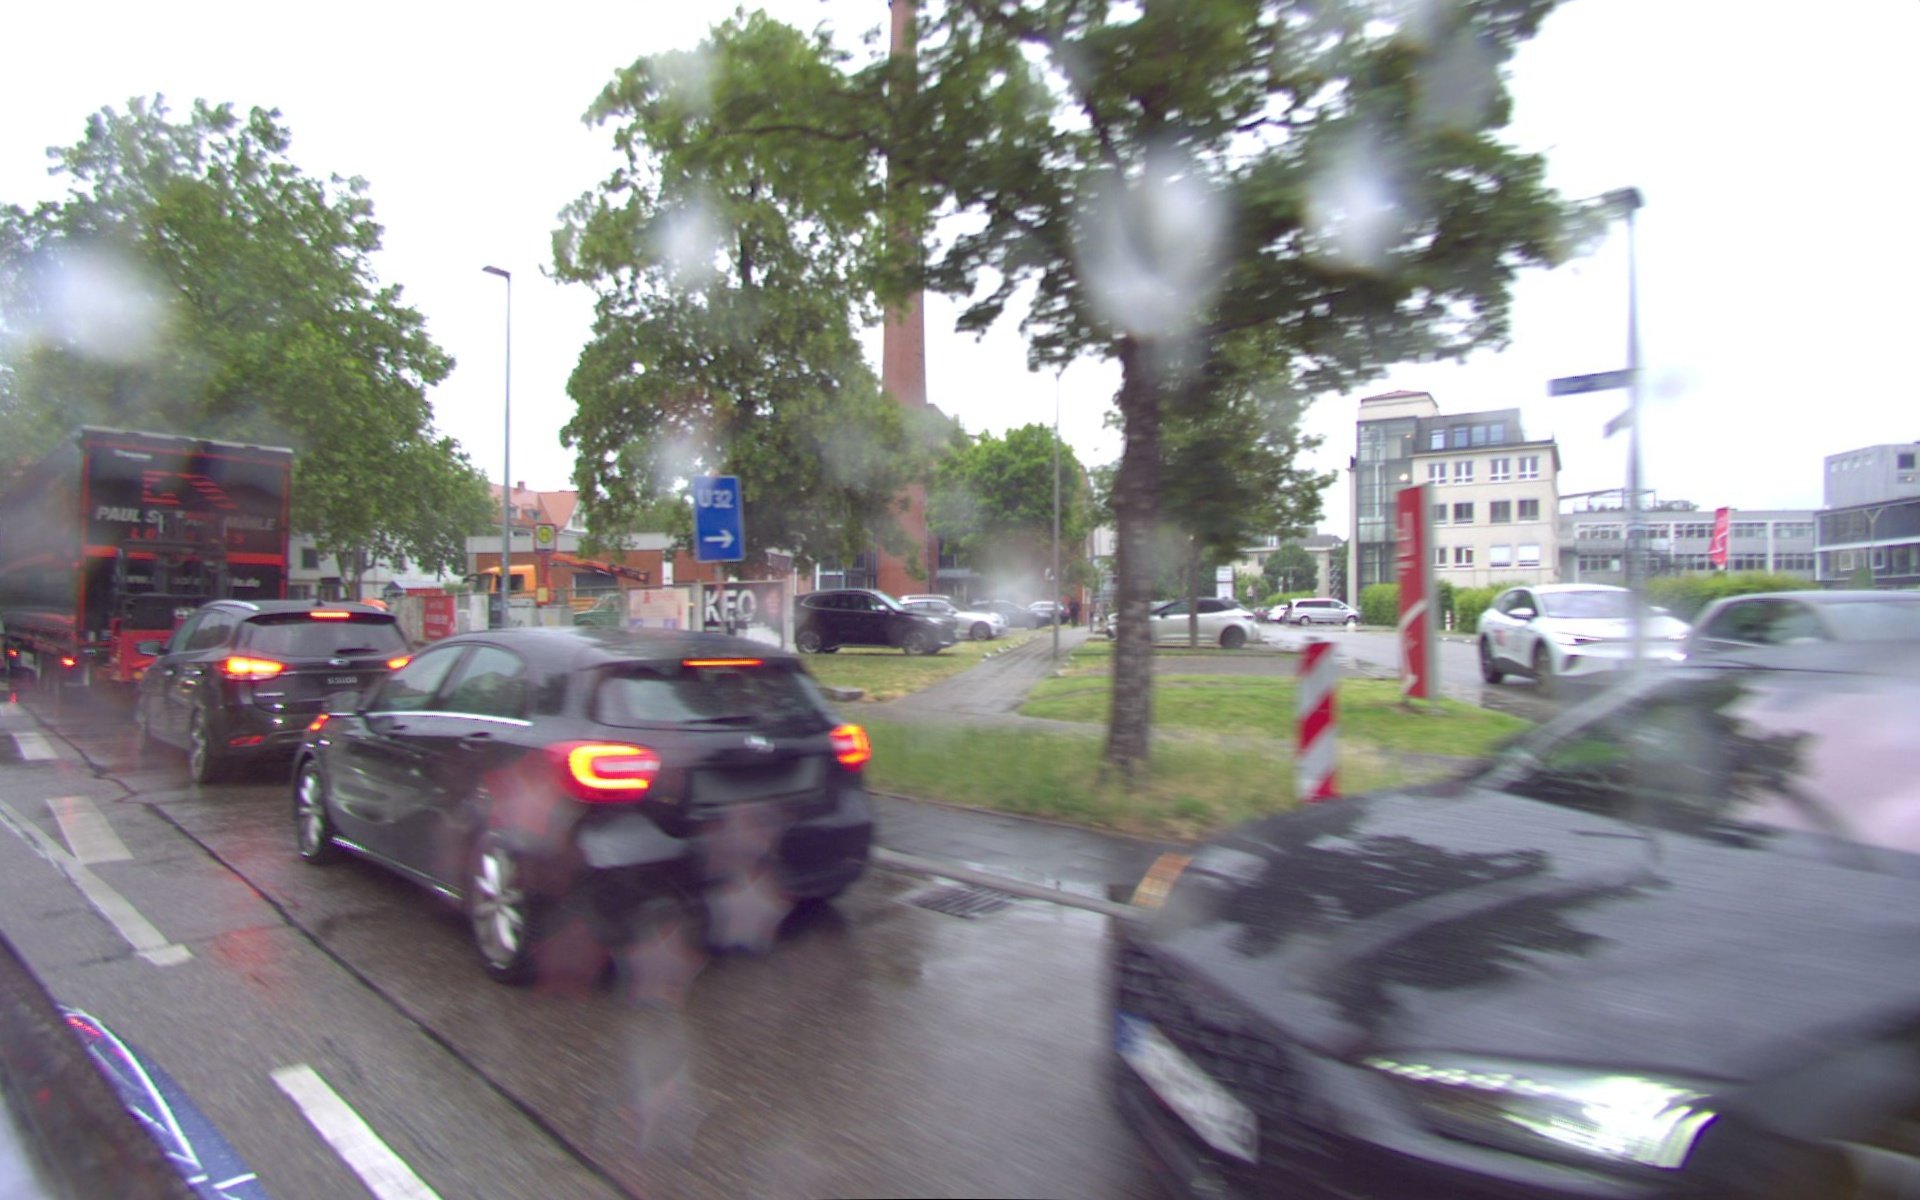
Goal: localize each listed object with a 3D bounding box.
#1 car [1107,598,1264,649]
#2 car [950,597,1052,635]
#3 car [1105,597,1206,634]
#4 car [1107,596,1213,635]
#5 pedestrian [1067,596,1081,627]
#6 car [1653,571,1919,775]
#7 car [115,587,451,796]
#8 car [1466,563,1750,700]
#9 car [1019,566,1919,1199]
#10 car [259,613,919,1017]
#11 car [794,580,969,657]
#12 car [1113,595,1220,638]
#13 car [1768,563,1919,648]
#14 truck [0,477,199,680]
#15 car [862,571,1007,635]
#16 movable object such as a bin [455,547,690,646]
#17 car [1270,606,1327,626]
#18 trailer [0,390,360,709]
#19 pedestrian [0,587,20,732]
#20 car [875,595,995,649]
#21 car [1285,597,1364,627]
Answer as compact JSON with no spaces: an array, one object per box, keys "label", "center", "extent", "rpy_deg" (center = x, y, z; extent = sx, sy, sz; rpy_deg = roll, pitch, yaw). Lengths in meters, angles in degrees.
[{"label":"car","center":[6.397,0.685,29.053],"extent":[4.263,1.389,1.618],"rpy_deg":[-1,-1,11]},{"label":"car","center":[2.040,0.792,50.026],"extent":[4.756,1.754,2.161],"rpy_deg":[-1,-1,12]},{"label":"car","center":[9.824,0.770,51.208],"extent":[4.845,1.736,1.995],"rpy_deg":[-1,-1,8]},{"label":"car","center":[9.543,0.755,48.683],"extent":[4.845,1.750,1.995],"rpy_deg":[-1,-1,8]},{"label":"pedestrian","center":[6.377,0.631,56.581],"extent":[0.671,1.697,0.777],"rpy_deg":[-1,-1,12]},{"label":"car","center":[7.934,0.462,8.440],"extent":[1.992,1.405,4.325],"rpy_deg":[-1,1,11]},{"label":"car","center":[-7.128,0.716,10.408],"extent":[4.803,1.631,1.847],"rpy_deg":[1,0,43]},{"label":"car","center":[9.383,0.415,15.200],"extent":[2.025,1.719,4.630],"rpy_deg":[-1,0,12]},{"label":"car","center":[2.811,0.707,2.801],"extent":[4.844,1.465,2.092],"rpy_deg":[0,-1,-16]},{"label":"car","center":[-2.334,0.780,5.584],"extent":[4.338,1.371,1.707],"rpy_deg":[-1,-2,44]},{"label":"car","center":[-1.893,0.464,25.003],"extent":[3.957,1.804,1.993],"rpy_deg":[-1,-1,11]},{"label":"car","center":[8.906,0.705,43.912],"extent":[4.370,1.750,1.995],"rpy_deg":[-1,-1,8]},{"label":"car","center":[25.209,0.138,27.264],"extent":[4.920,2.167,1.993],"rpy_deg":[-1,-1,11]},{"label":"truck","center":[-20.983,-0.378,24.038],"extent":[6.972,4.109,3.413],"rpy_deg":[-1,-1,42]},{"label":"car","center":[-0.821,0.114,34.123],"extent":[4.622,2.029,1.995],"rpy_deg":[-1,-1,8]},{"label":"movable object such as a bin","center":[-12.591,-0.106,33.169],"extent":[6.668,2.953,2.781],"rpy_deg":[-1,-1,-38]},{"label":"car","center":[27.323,1.311,81.867],"extent":[4.177,1.536,1.744],"rpy_deg":[-1,-1,13]},{"label":"trailer","center":[-15.841,-0.512,19.291],"extent":[15.048,4.080,3.405],"rpy_deg":[-1,-1,43]},{"label":"pedestrian","center":[-12.940,0.771,13.182],"extent":[0.857,1.857,0.994],"rpy_deg":[0,-1,-35]},{"label":"car","center":[-0.867,0.793,36.724],"extent":[3.961,1.806,1.991],"rpy_deg":[-2,-1,14]},{"label":"car","center":[25.768,0.866,71.679],"extent":[4.891,2.029,1.996],"rpy_deg":[-1,-1,7]}]
